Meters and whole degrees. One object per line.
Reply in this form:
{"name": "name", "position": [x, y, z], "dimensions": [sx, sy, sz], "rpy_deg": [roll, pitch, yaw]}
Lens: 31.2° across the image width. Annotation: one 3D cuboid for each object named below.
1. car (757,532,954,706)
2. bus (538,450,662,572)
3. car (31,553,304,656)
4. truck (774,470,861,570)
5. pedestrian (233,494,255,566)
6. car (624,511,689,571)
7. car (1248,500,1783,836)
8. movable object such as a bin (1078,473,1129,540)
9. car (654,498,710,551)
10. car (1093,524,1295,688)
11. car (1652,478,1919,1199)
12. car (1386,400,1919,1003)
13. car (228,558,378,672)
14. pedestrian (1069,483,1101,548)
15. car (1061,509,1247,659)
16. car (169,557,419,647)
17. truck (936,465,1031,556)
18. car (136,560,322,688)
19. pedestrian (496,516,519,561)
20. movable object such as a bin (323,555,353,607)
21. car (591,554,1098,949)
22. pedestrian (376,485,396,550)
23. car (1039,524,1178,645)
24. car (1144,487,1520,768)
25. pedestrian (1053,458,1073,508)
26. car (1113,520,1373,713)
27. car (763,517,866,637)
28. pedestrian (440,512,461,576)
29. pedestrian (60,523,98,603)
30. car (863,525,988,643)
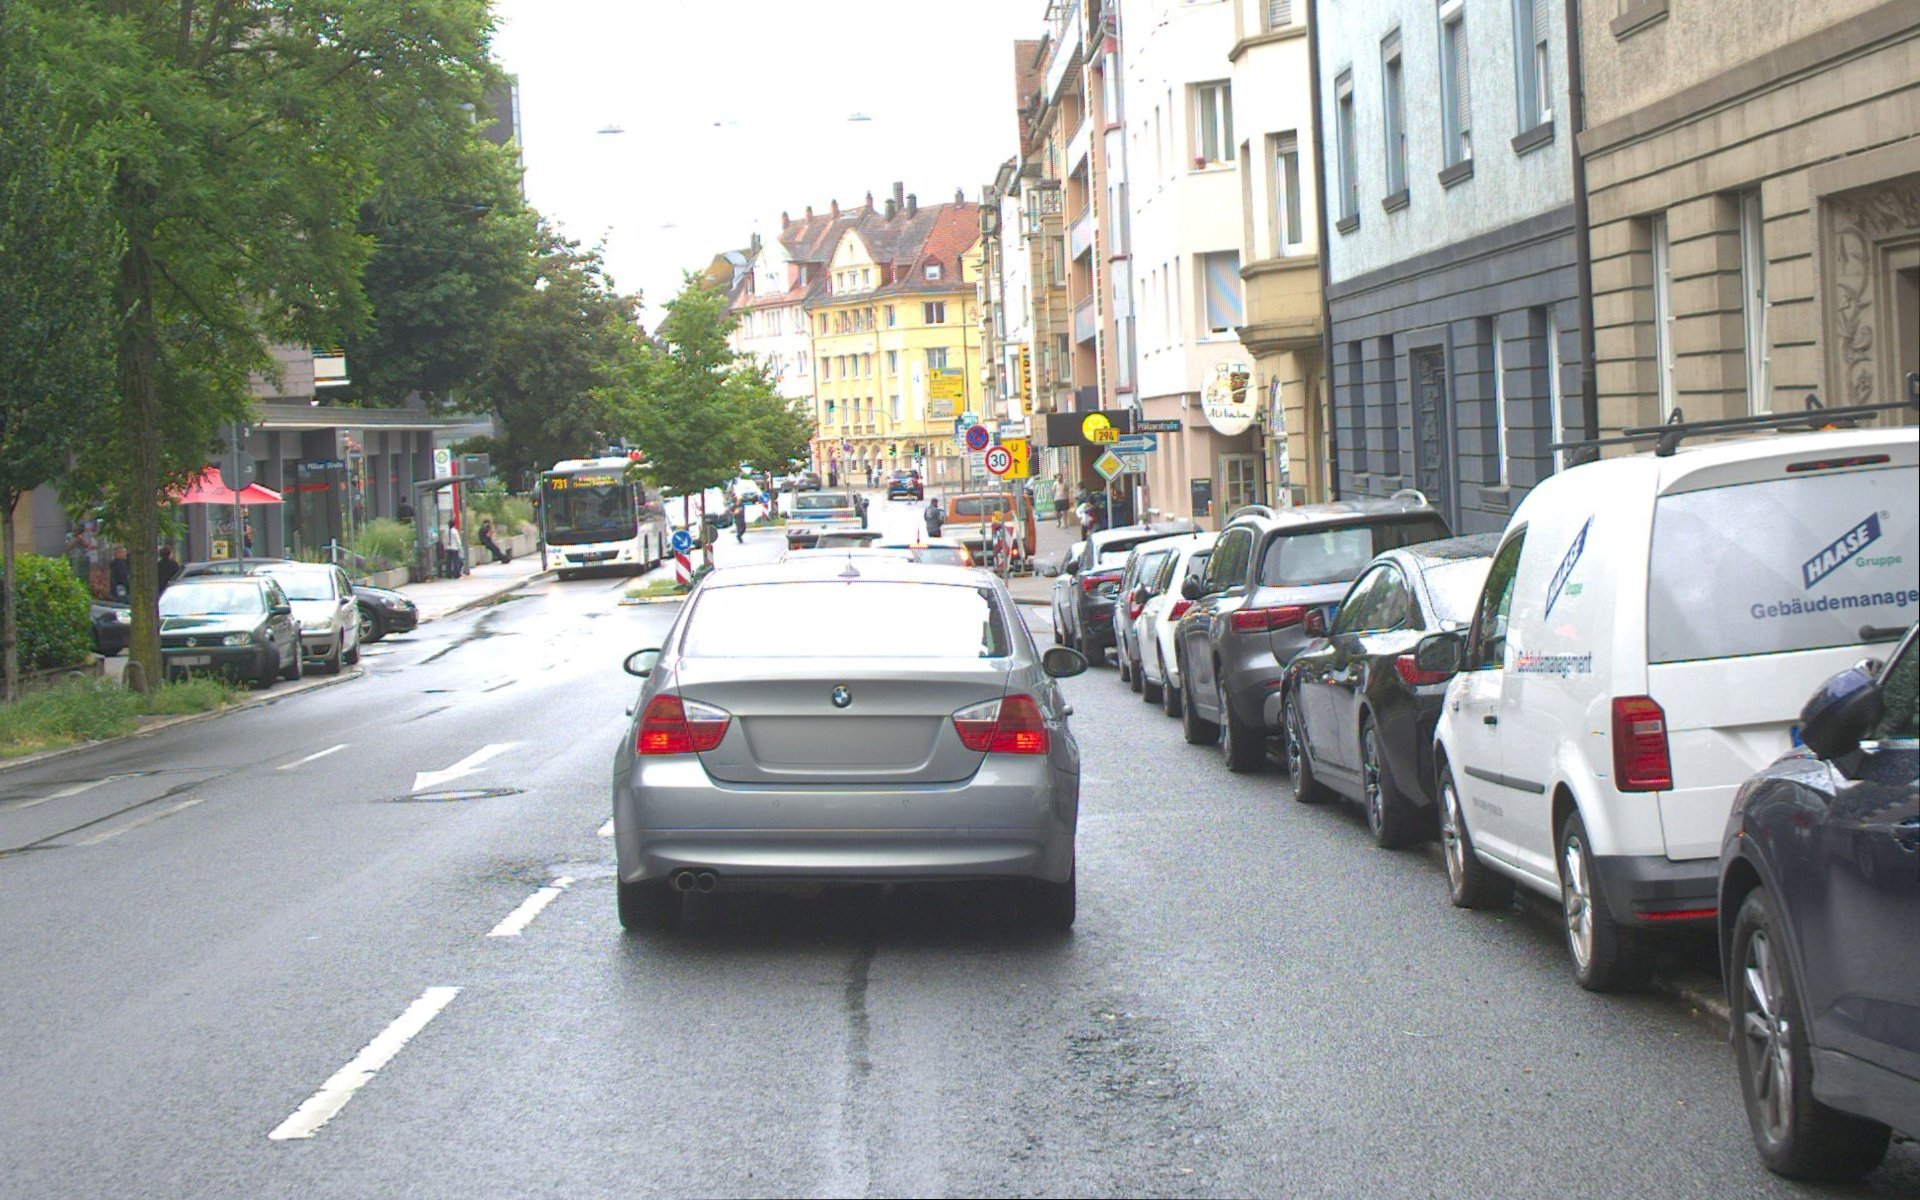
{"name": "car", "position": [-0.951, 0.146, 29.859], "dimensions": [1.601, 1.415, 3.288], "rpy_deg": [0, 0, -3]}
{"name": "bus", "position": [-10.116, -2.419, 97.573], "dimensions": [2.681, 3.189, 11.957], "rpy_deg": [0, 0, -2]}
{"name": "car", "position": [-12.465, 0.057, 54.209], "dimensions": [3.816, 1.385, 1.743], "rpy_deg": [-2, 3, 2]}
{"name": "truck", "position": [-3.768, -2.087, 91.348], "dimensions": [2.216, 2.535, 4.780], "rpy_deg": [0, 0, -2]}
{"name": "pedestrian", "position": [-17.770, -1.738, 85.353], "dimensions": [0.464, 1.783, 0.545], "rpy_deg": [0, 0, -5]}
{"name": "car", "position": [-10.405, -2.007, 117.994], "dimensions": [1.993, 2.007, 4.000], "rpy_deg": [1, 0, -2]}
{"name": "car", "position": [2.748, 0.272, 18.043], "dimensions": [1.840, 1.404, 4.388], "rpy_deg": [-4, 1, -2]}
{"name": "movable object such as a bin", "position": [3.812, -2.478, 91.383], "dimensions": [1.122, 1.697, 1.434], "rpy_deg": [-3, 0, -3]}
{"name": "car", "position": [-10.788, -2.914, 133.556], "dimensions": [1.993, 2.007, 4.000], "rpy_deg": [0, 0, -2]}
{"name": "car", "position": [2.299, 0.019, 34.544], "dimensions": [1.583, 1.424, 3.595], "rpy_deg": [-5, 1, -1]}
{"name": "car", "position": [2.709, 0.497, 6.569], "dimensions": [1.790, 1.543, 4.226], "rpy_deg": [-4, 1, 0]}
{"name": "car", "position": [2.833, 0.245, 12.757], "dimensions": [1.790, 1.811, 4.080], "rpy_deg": [-4, 1, -1]}
{"name": "car", "position": [-9.199, 0.183, 48.359], "dimensions": [1.631, 1.449, 3.840], "rpy_deg": [-2, 1, -5]}
{"name": "pedestrian", "position": [3.200, -2.163, 88.184], "dimensions": [0.752, 1.655, 0.752], "rpy_deg": [0, 0, -1]}
{"name": "car", "position": [2.241, -0.224, 40.776], "dimensions": [1.818, 1.552, 4.293], "rpy_deg": [-4, 1, -1]}
{"name": "car", "position": [-11.008, 0.026, 56.973], "dimensions": [3.815, 1.385, 1.743], "rpy_deg": [-1, 0, -2]}
{"name": "truck", "position": [0.561, -2.160, 84.170], "dimensions": [2.215, 2.109, 4.652], "rpy_deg": [2, 1, 0]}
{"name": "car", "position": [-9.264, 0.274, 43.840], "dimensions": [1.653, 1.449, 3.943], "rpy_deg": [-2, 1, -3]}
{"name": "pedestrian", "position": [-14.130, -1.920, 107.409], "dimensions": [0.619, 1.373, 0.544], "rpy_deg": [0, 0, 0]}
{"name": "movable object such as a bin", "position": [-13.362, -0.412, 73.896], "dimensions": [0.490, 1.077, 0.606], "rpy_deg": [-3, 0, -1]}
{"name": "car", "position": [-0.438, 0.522, 13.633], "dimensions": [1.756, 1.358, 3.165], "rpy_deg": [-1, 0, -1]}
{"name": "pedestrian", "position": [-15.808, -2.263, 94.708], "dimensions": [0.542, 1.783, 0.508], "rpy_deg": [0, 0, -10]}
{"name": "car", "position": [1.974, -0.246, 46.589], "dimensions": [1.569, 1.459, 4.089], "rpy_deg": [-4, 1, -1]}
{"name": "car", "position": [2.407, 0.144, 23.282], "dimensions": [1.840, 1.615, 4.209], "rpy_deg": [-4, 1, -2]}
{"name": "pedestrian", "position": [3.428, -3.902, 114.519], "dimensions": [0.615, 1.655, 0.754], "rpy_deg": [0, 0, 5]}
{"name": "car", "position": [2.391, 0.087, 29.905], "dimensions": [1.729, 1.424, 3.974], "rpy_deg": [-5, 1, -1]}
{"name": "car", "position": [-2.562, -0.393, 59.988], "dimensions": [1.705, 2.007, 4.000], "rpy_deg": [0, 0, -3]}
{"name": "pedestrian", "position": [-13.584, -1.494, 91.653], "dimensions": [0.542, 1.703, 0.466], "rpy_deg": [0, 0, -7]}
{"name": "pedestrian", "position": [-20.316, -0.867, 79.297], "dimensions": [0.633, 1.809, 0.638], "rpy_deg": [-3, 2, -27]}
{"name": "car", "position": [-0.389, -0.192, 41.685], "dimensions": [1.435, 1.352, 3.762], "rpy_deg": [0, 0, 0]}
